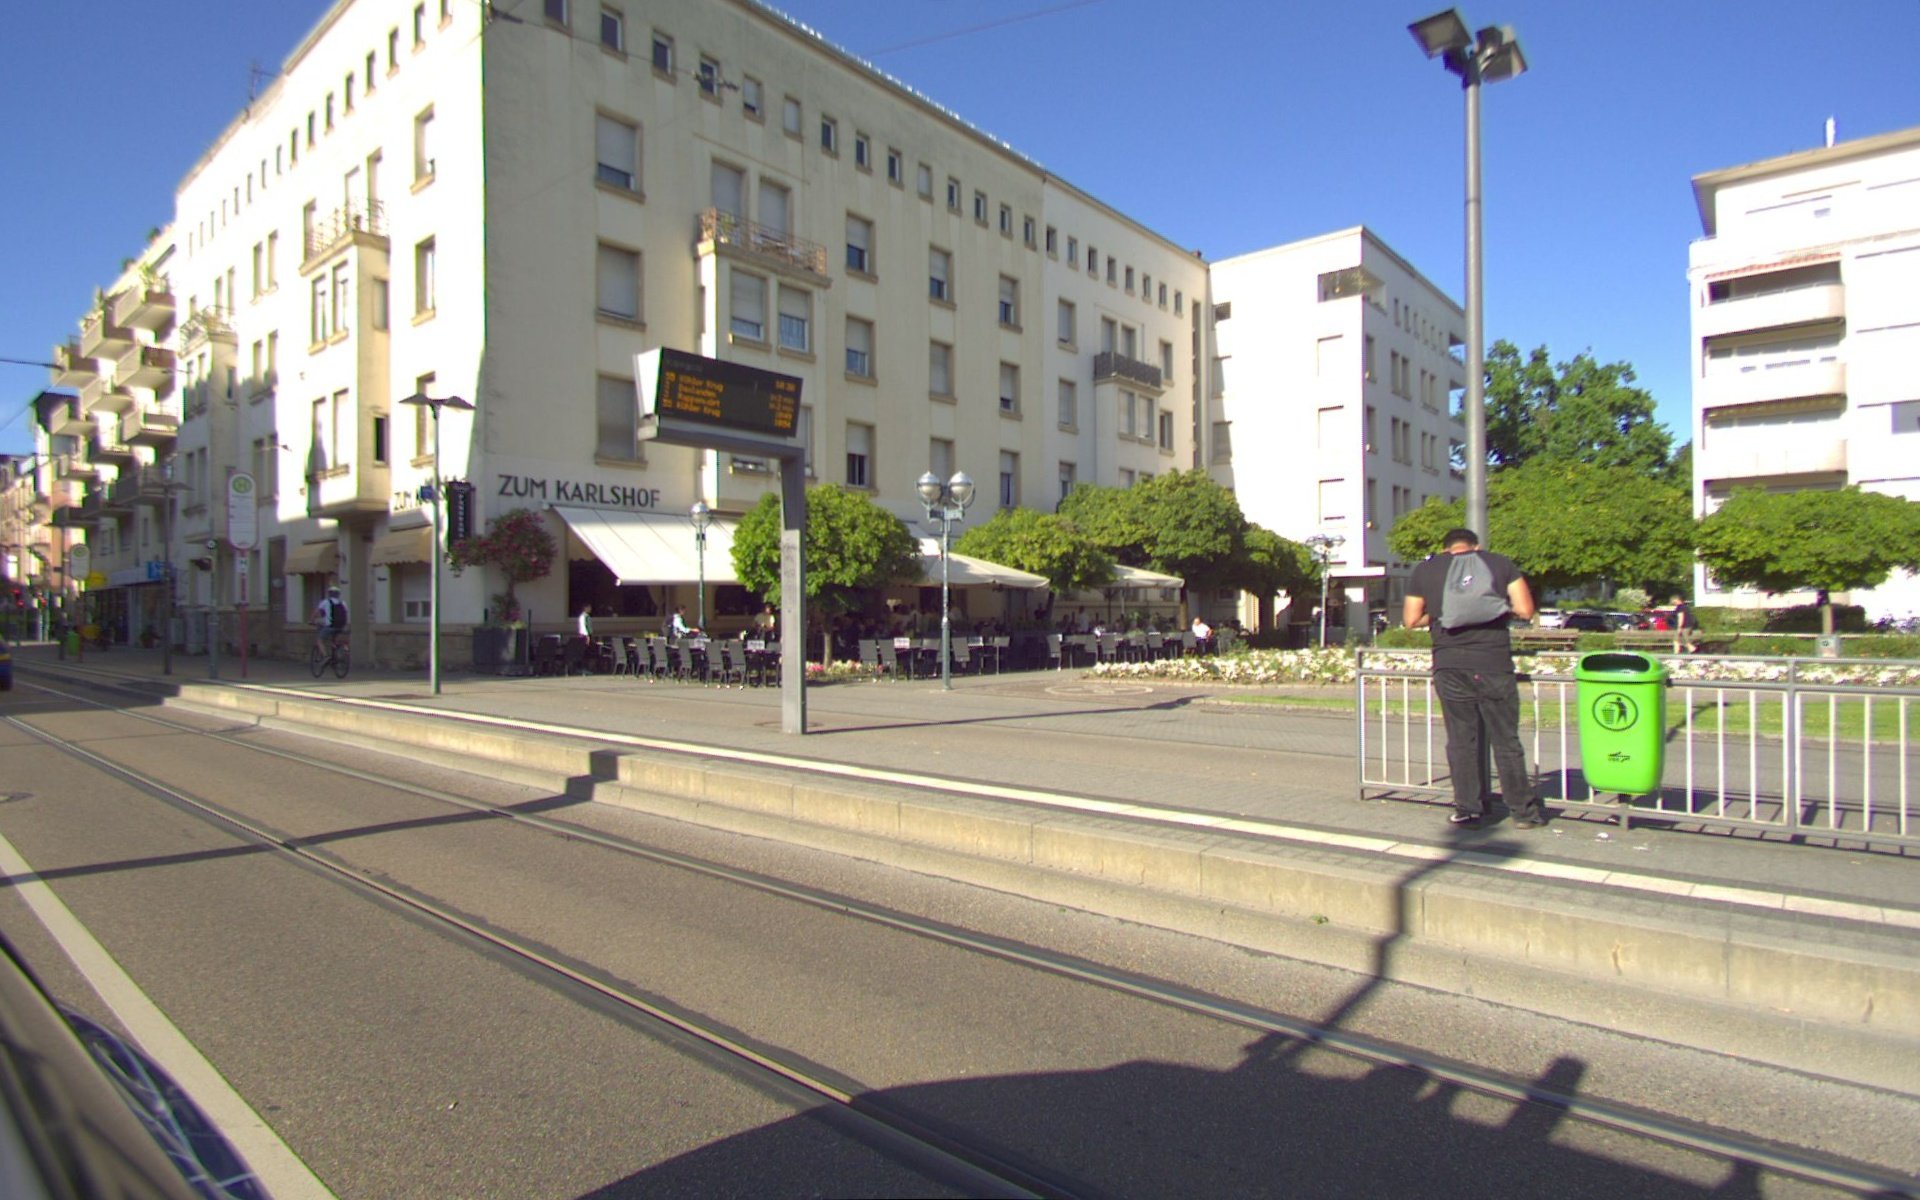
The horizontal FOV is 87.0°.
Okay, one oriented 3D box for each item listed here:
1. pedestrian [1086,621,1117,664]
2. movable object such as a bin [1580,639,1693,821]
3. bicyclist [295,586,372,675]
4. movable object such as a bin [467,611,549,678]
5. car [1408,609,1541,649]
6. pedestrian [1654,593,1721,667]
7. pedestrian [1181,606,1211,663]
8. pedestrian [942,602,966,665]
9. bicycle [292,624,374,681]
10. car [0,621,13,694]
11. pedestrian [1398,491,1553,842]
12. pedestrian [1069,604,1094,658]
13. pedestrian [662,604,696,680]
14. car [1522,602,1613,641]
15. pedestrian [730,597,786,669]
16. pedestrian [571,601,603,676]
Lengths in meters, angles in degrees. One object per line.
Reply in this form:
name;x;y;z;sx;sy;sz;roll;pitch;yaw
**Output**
pedestrian;4.287;1.285;30.691;0.672;1.280;0.636;-5;-5;36
movable object such as a bin;3.438;0.637;5.145;0.416;0.866;0.332;-2;-1;44
bicyclist;-13.057;0.626;21.089;1.092;1.807;0.996;-1;-1;33
movable object such as a bin;-9.993;0.959;22.372;1.127;1.410;1.302;-1;-1;40
car;17.678;0.974;34.855;3.713;1.310;1.973;-1;-1;41
pedestrian;18.293;0.731;25.446;1.066;1.801;1.177;0;-1;-45
pedestrian;7.509;1.111;32.226;0.710;1.750;0.673;-2;-4;1
pedestrian;-0.172;0.983;29.841;0.641;1.837;0.576;-1;-1;5
bicycle;-13.083;1.075;21.102;2.031;1.134;0.706;-1;-1;34
car;-21.642;1.221;21.605;3.997;1.499;1.650;-1;0;41
pedestrian;2.755;0.339;5.411;0.607;1.731;0.542;-1;-3;43
pedestrian;4.030;1.031;33.471;0.677;1.750;0.671;-3;-4;14
pedestrian;-6.268;0.937;22.597;0.662;1.657;0.678;-1;-4;-13
car;24.274;0.867;40.484;2.932;1.497;1.399;-1;-1;41
pedestrian;-4.838;0.807;24.245;0.755;1.657;1.054;-5;-5;36
pedestrian;-8.481;0.890;22.999;0.662;1.657;0.753;0;-4;-22
